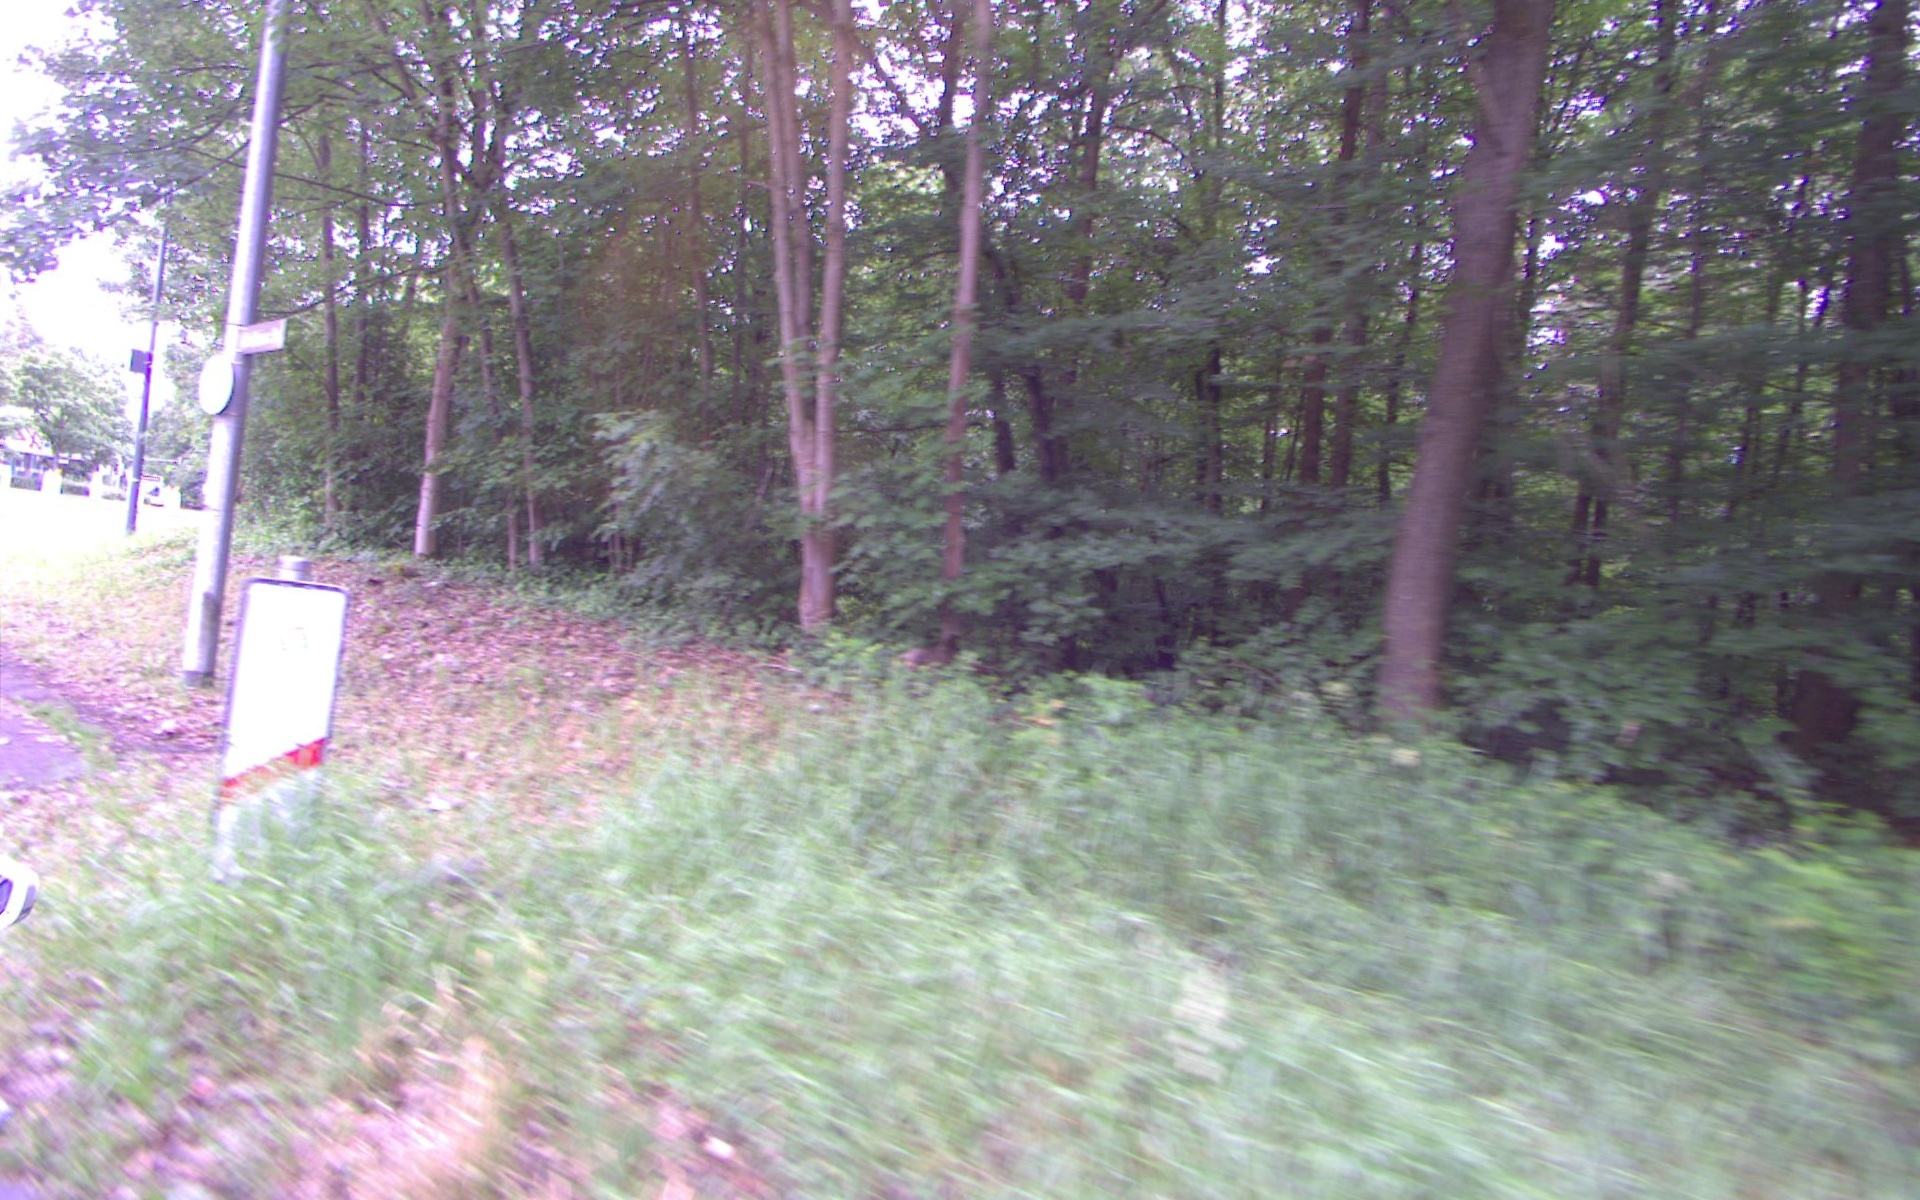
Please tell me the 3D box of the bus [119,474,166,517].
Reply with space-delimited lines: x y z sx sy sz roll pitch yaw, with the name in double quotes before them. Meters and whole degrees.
"bus" -82.218 -10.609 101.049 2.812 3.648 12.649 7 1 -42
